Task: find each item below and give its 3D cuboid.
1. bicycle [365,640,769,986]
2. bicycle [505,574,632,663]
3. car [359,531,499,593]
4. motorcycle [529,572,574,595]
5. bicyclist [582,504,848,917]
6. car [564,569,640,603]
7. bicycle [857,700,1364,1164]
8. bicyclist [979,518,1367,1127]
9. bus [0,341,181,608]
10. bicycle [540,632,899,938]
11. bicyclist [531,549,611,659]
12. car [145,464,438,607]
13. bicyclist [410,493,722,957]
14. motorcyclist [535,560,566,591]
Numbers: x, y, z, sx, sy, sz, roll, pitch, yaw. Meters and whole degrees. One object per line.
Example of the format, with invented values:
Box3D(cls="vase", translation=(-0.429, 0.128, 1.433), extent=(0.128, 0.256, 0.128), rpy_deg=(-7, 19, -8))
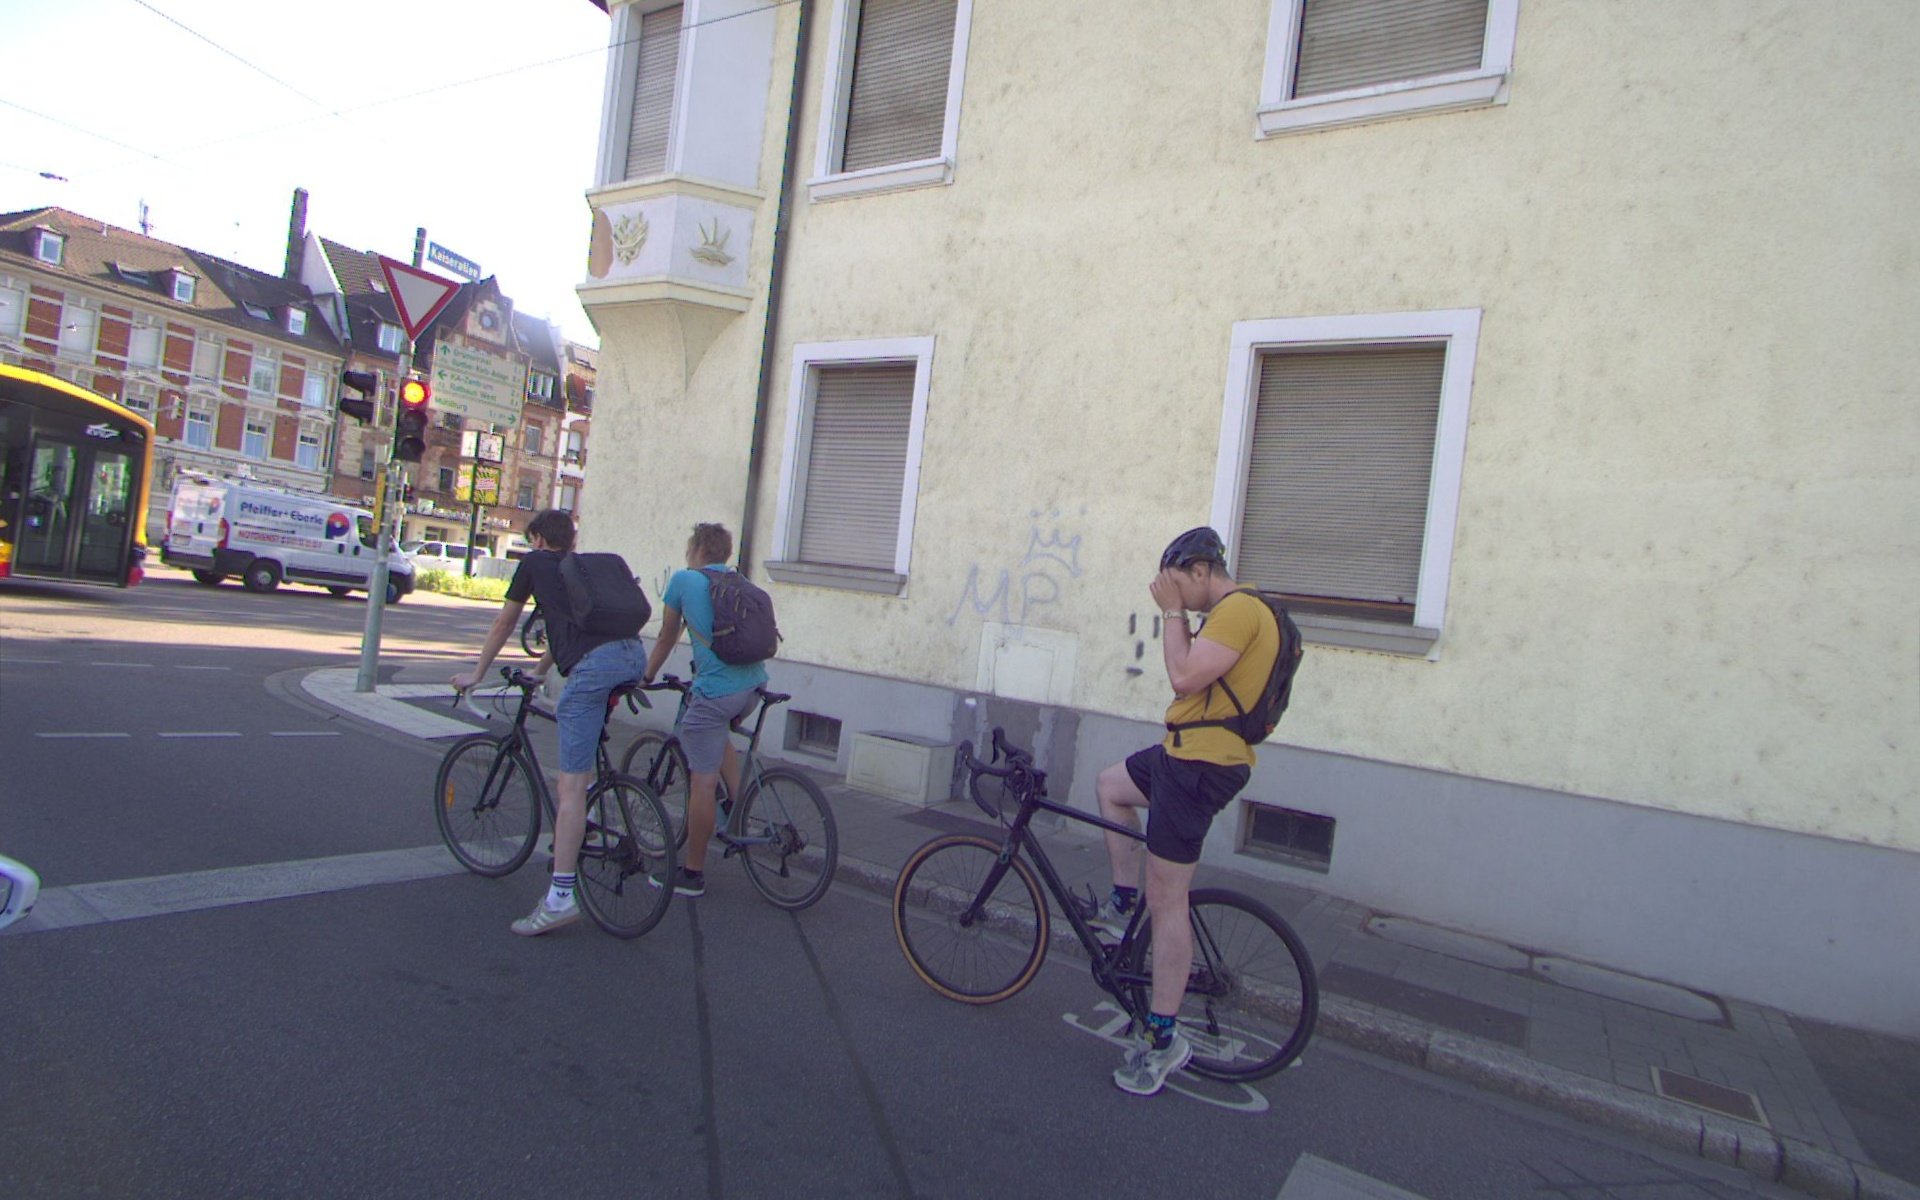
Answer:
Box3D(cls="bicycle", translation=(-1.796, 0.833, 4.467), extent=(1.858, 1.071, 0.571), rpy_deg=(7, 0, 32))
Box3D(cls="bicycle", translation=(-6.626, 0.351, 17.143), extent=(0.613, 1.314, 1.945), rpy_deg=(7, -1, 30))
Box3D(cls="car", translation=(-23.263, -1.617, 44.263), extent=(1.967, 2.037, 4.988), rpy_deg=(7, -1, 31))
Box3D(cls="motorcycle", translation=(-20.051, -0.811, 49.403), extent=(0.552, 0.908, 2.043), rpy_deg=(7, -1, 31))
Box3D(cls="bicyclist", translation=(-1.283, 0.521, 5.270), extent=(0.978, 1.910, 0.652), rpy_deg=(7, 0, 32))
Box3D(cls="car", translation=(-23.167, -0.892, 65.230), extent=(1.966, 1.641, 4.261), rpy_deg=(7, -1, 29))
Box3D(cls="bicycle", translation=(0.516, 1.088, 3.772), extent=(1.670, 1.180, 0.571), rpy_deg=(7, 0, 32))
Box3D(cls="bicyclist", translation=(0.775, 0.694, 3.656), extent=(1.019, 1.839, 0.652), rpy_deg=(7, 0, 32))
Box3D(cls="bus", translation=(-15.565, -2.190, 12.010), extent=(2.729, 3.497, 9.445), rpy_deg=(8, -2, 24))
Box3D(cls="bicycle", translation=(-1.306, 0.875, 5.280), extent=(1.858, 1.180, 0.571), rpy_deg=(7, 0, 32))
Box3D(cls="bicyclist", translation=(-6.594, 0.078, 17.063), extent=(0.721, 1.735, 0.800), rpy_deg=(7, 0, 30))
Box3D(cls="car", translation=(-15.115, -1.346, 23.156), extent=(2.043, 2.461, 5.128), rpy_deg=(7, -1, 24))
Box3D(cls="bicyclist", translation=(-1.747, 0.489, 4.469), extent=(0.978, 1.788, 0.652), rpy_deg=(7, 0, 32))
Box3D(cls="motorcyclist", translation=(-20.072, -1.188, 49.326), extent=(0.732, 1.371, 1.004), rpy_deg=(7, 0, 32))
